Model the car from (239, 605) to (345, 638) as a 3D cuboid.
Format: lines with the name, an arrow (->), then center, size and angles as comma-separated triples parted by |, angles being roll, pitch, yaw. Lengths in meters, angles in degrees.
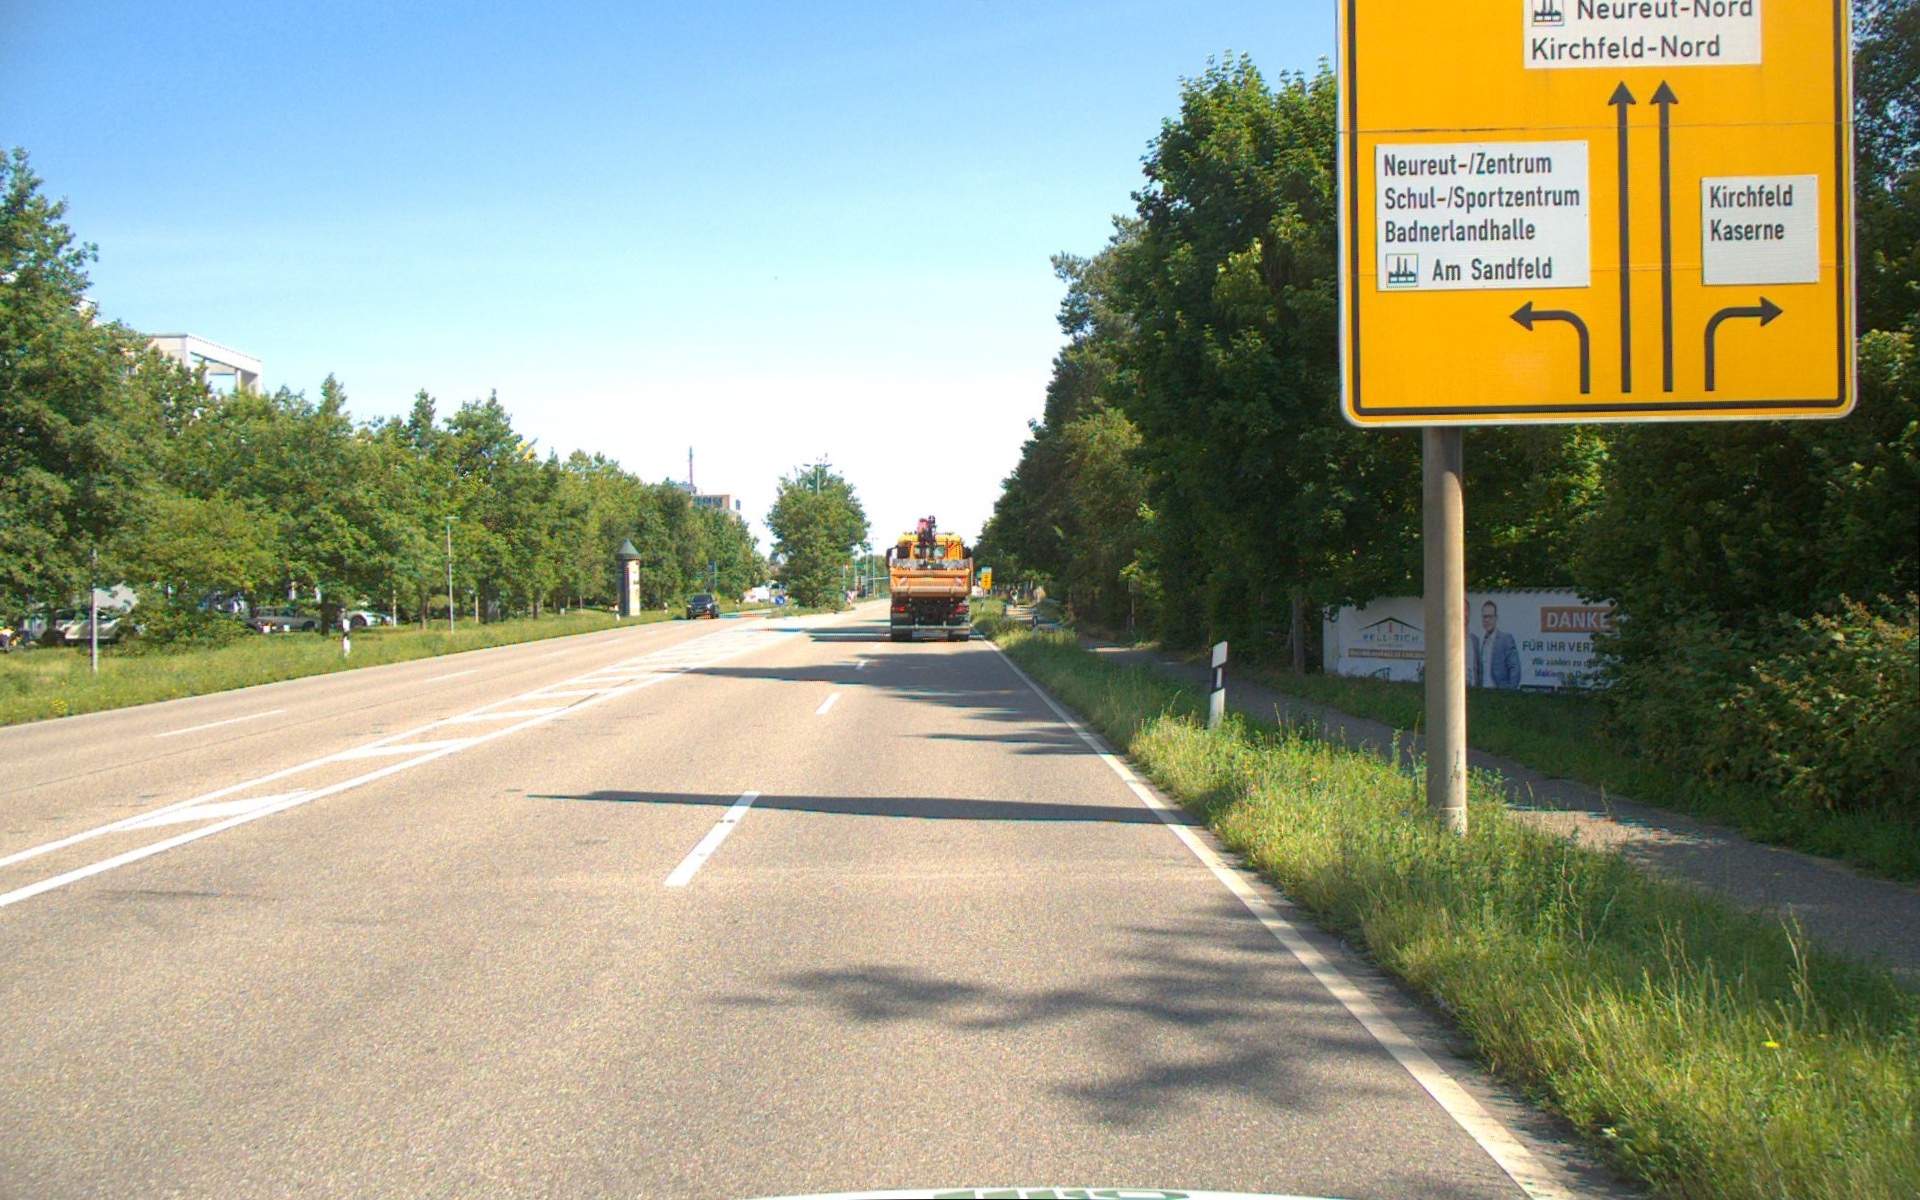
car -> -33.904, 1.082, 83.996 | 4.502, 1.462, 2.000 | -2, 1, -2

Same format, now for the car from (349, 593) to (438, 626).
car -> -33.236, 0.552, 97.112 | 4.439, 1.788, 2.001 | -2, 0, 2

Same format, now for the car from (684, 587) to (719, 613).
car -> -17.462, -0.007, 112.031 | 1.764, 1.599, 3.999 | -2, 1, -1

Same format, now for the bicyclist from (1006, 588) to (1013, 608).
bicyclist -> 4.033, -0.176, 135.097 | 0.547, 1.585, 0.557 | -2, 0, -2

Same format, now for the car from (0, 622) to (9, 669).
car -> -32.427, 1.493, 51.439 | 4.502, 1.462, 2.000 | -2, 1, -2

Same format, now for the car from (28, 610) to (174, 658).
car -> -32.903, 1.293, 63.427 | 4.502, 1.679, 2.000 | -2, 1, -2

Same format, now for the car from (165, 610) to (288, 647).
car -> -32.500, 1.248, 73.371 | 4.502, 1.462, 2.000 | -2, 1, -2

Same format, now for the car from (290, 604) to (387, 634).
car -> -33.977, 1.019, 90.435 | 4.502, 1.462, 2.000 | -2, 1, -2

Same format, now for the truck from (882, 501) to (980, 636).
truck -> -1.024, -0.968, 52.726 | 2.814, 3.948, 7.395 | 1, 0, -3
